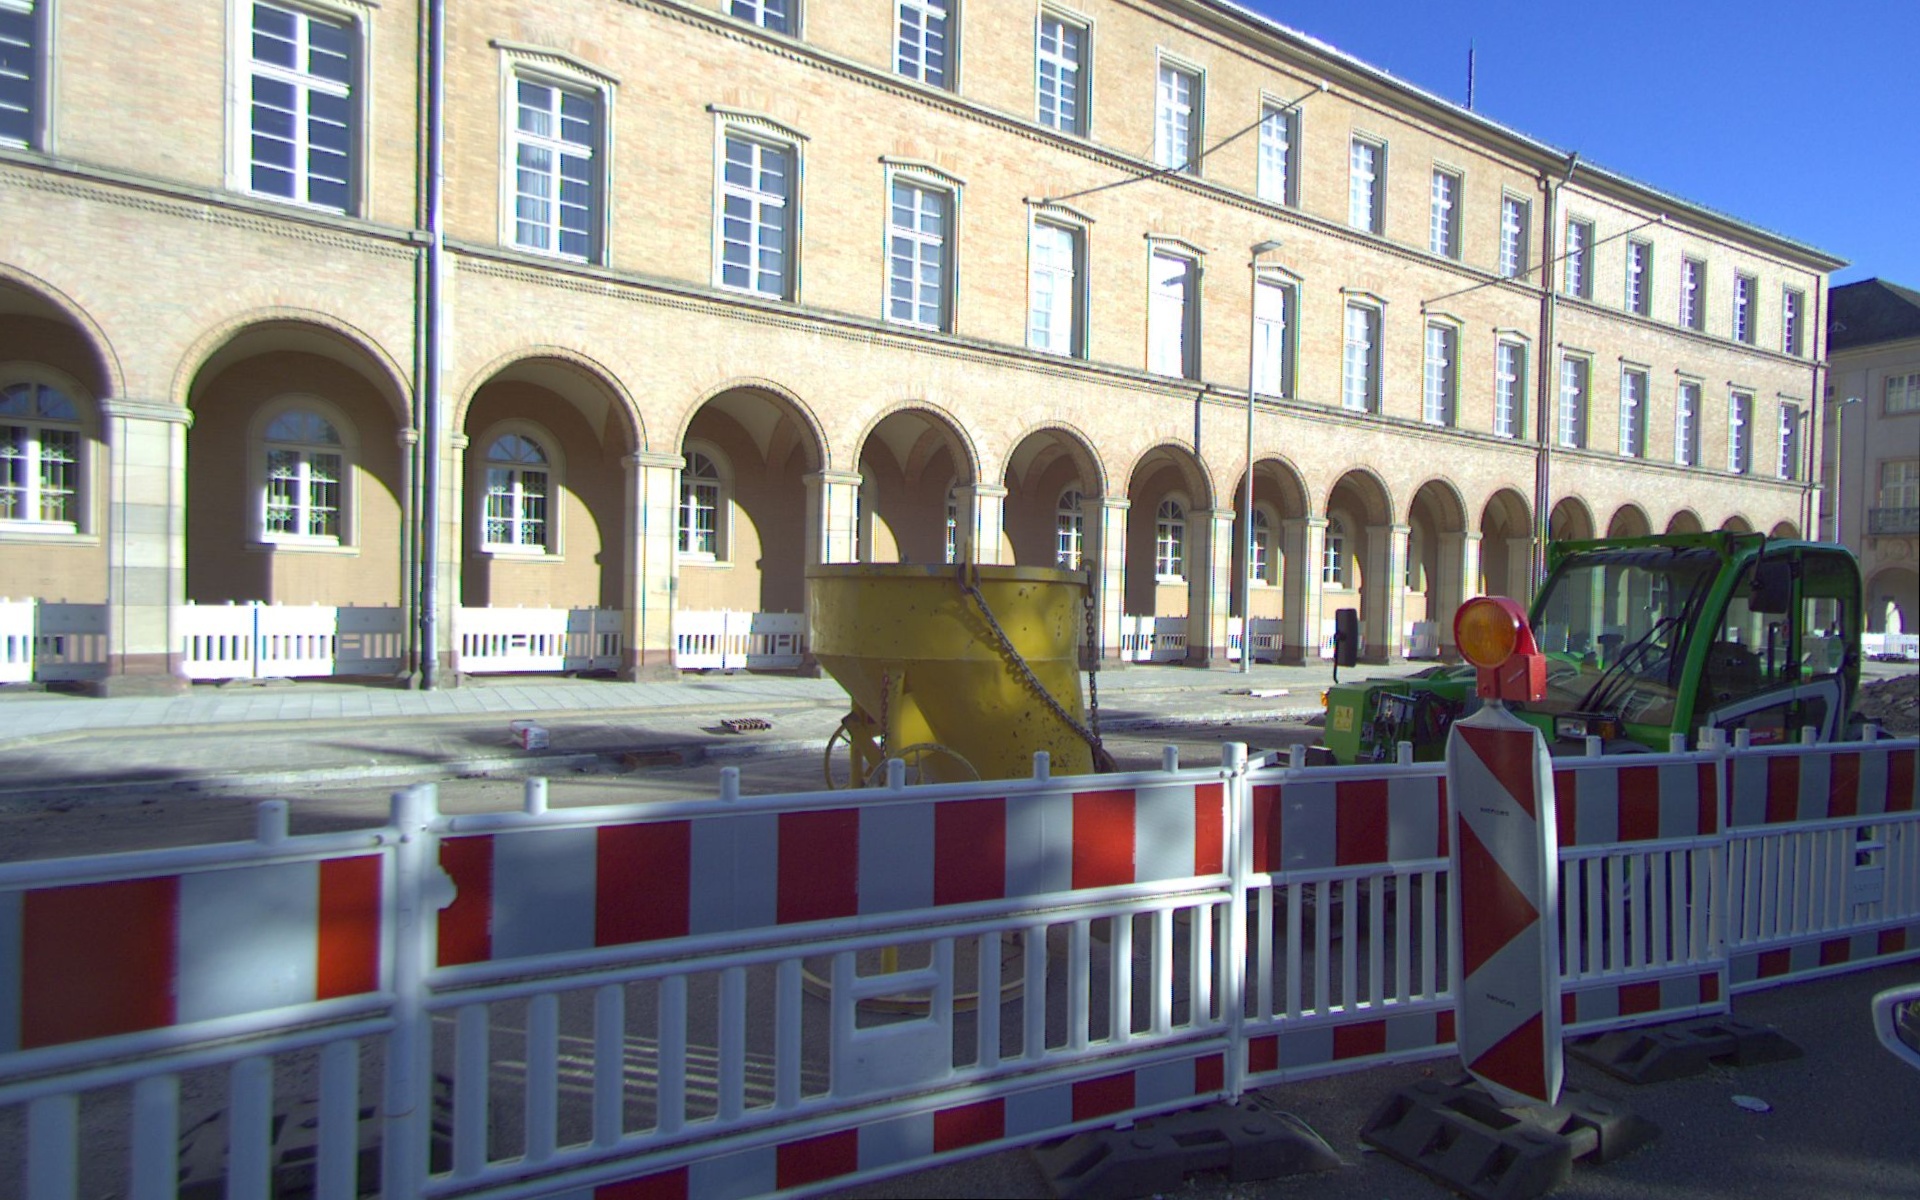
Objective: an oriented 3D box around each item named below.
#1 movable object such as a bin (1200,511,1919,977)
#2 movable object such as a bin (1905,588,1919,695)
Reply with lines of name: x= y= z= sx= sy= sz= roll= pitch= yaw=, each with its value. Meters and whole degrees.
movable object such as a bin: x=3.822 y=0.605 z=6.129 sx=4.277 sy=1.975 sz=2.043 roll=0 pitch=1 yaw=-26
movable object such as a bin: x=24.991 y=0.996 z=24.035 sx=4.557 sy=2.508 sz=2.066 roll=0 pitch=1 yaw=-28
